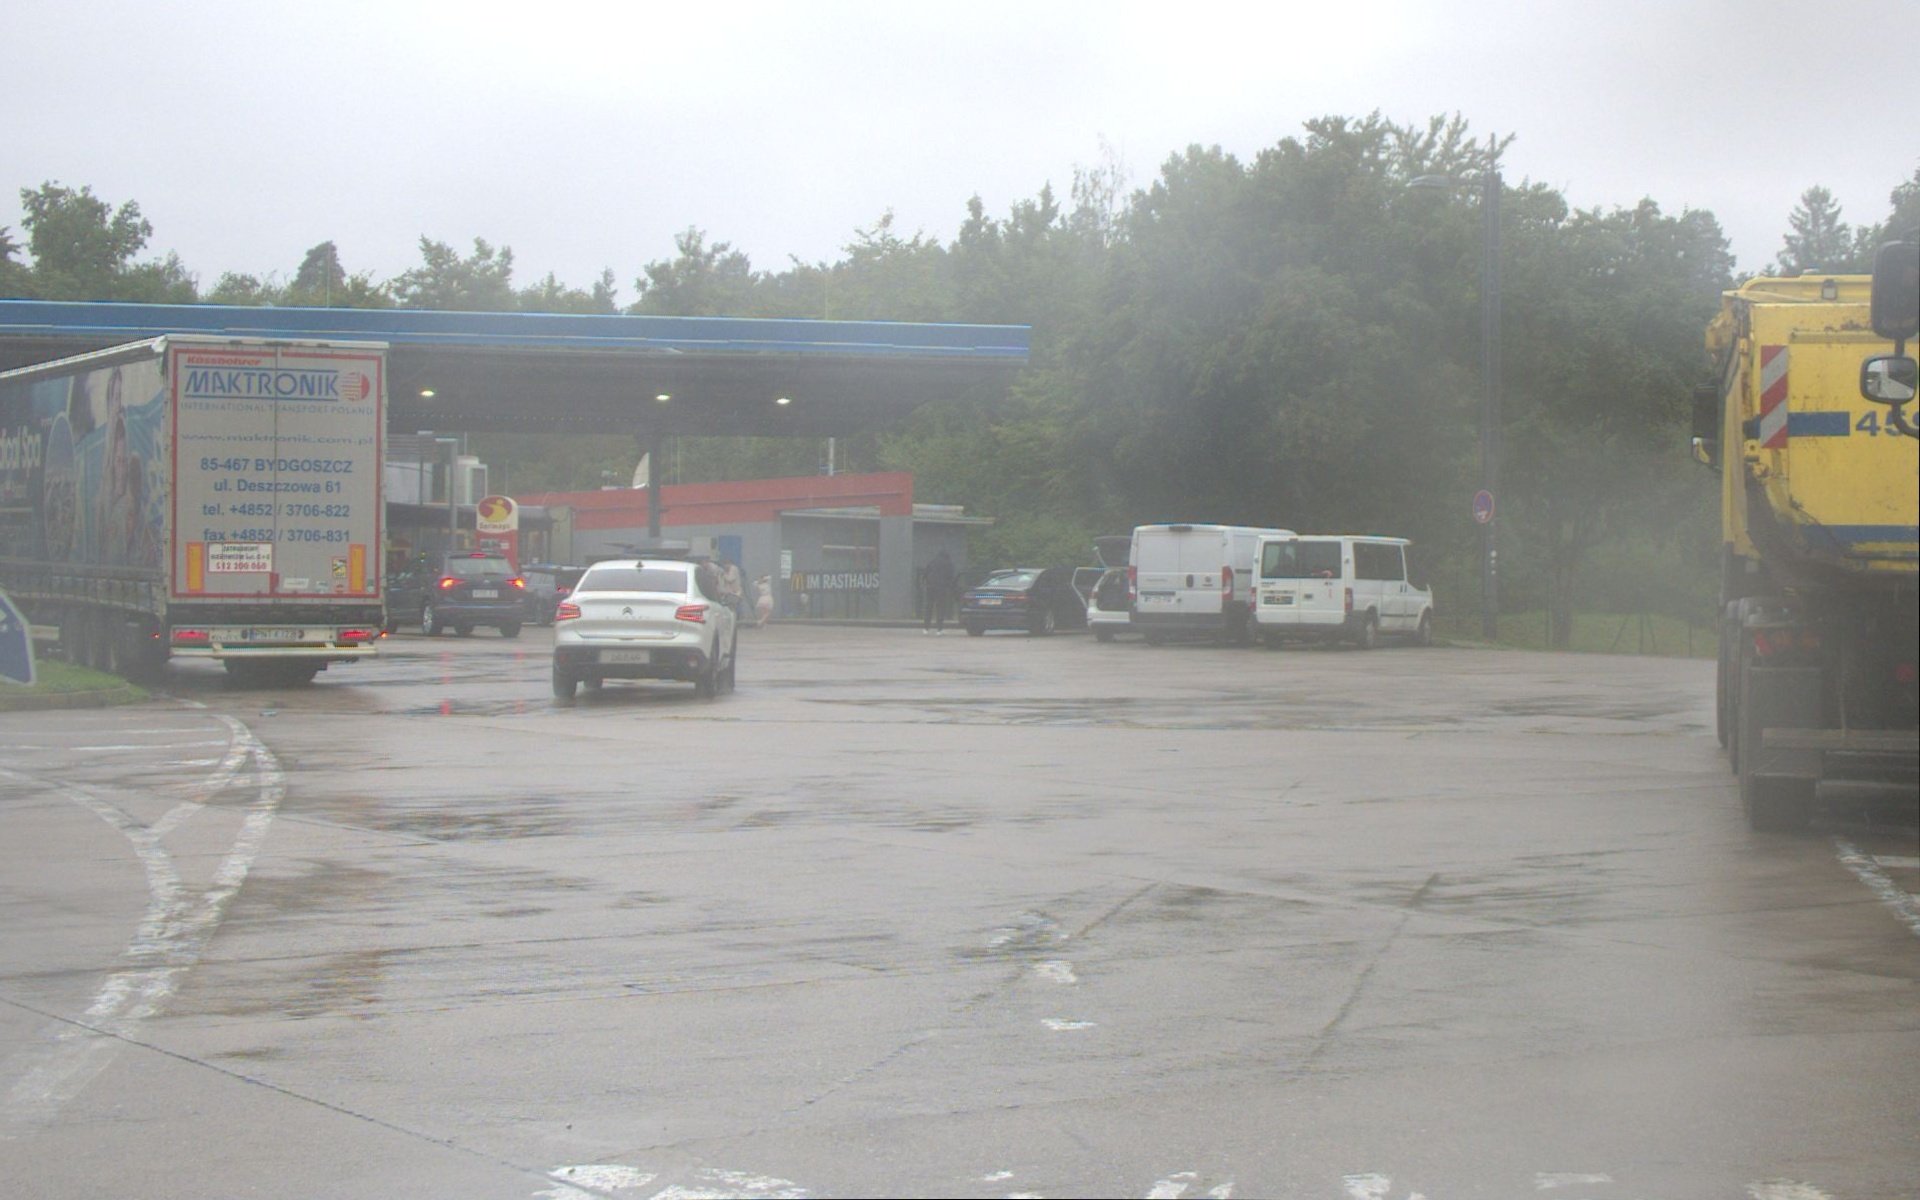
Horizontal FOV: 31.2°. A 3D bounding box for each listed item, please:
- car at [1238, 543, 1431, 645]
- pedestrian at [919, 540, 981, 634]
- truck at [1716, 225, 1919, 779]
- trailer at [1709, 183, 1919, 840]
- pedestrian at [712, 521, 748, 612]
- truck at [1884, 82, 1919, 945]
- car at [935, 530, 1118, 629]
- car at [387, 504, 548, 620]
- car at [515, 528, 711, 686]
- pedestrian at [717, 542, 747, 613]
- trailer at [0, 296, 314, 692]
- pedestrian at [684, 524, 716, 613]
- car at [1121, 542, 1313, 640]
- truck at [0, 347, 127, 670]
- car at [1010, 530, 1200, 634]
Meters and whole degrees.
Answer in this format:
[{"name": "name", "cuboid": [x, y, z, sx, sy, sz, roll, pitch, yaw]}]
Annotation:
[{"name": "car", "cuboid": [6.665, -0.132, 60.845, 2.116, 1.722, 3.994, 1, 1, 27]}, {"name": "pedestrian", "cuboid": [-0.207, -0.275, 70.648, 0.955, 1.913, 1.088, 1, 1, 19]}, {"name": "truck", "cuboid": [6.814, -0.700, 25.762, 2.182, 3.815, 4.139, 1, 1, 13]}, {"name": "trailer", "cuboid": [5.825, -0.497, 21.384, 2.184, 3.381, 7.559, 1, 1, 13]}, {"name": "pedestrian", "cuboid": [-5.246, -0.761, 78.415, 0.669, 2.007, 0.742, 3, -3, 0]}, {"name": "truck", "cuboid": [4.794, -0.335, 12.261, 2.146, 3.501, 4.645, 1, 1, 6]}, {"name": "car", "cuboid": [1.398, -0.433, 70.251, 2.116, 1.930, 4.186, 1, 1, 27]}, {"name": "car", "cuboid": [-9.576, -0.697, 66.628, 1.993, 2.007, 4.000, 4, -3, -24]}, {"name": "car", "cuboid": [-3.827, 0.054, 38.519, 1.993, 1.673, 4.001, 0, 1, -3]}, {"name": "pedestrian", "cuboid": [-5.043, -0.495, 76.027, 0.608, 1.534, 0.595, 1, -1, -7]}, {"name": "trailer", "cuboid": [-10.678, -1.241, 44.323, 1.993, 4.544, 9.811, 1, 0, -26]}, {"name": "pedestrian", "cuboid": [-6.028, -0.734, 79.594, 0.586, 2.007, 0.638, 3, -3, -9]}, {"name": "car", "cuboid": [4.734, -0.180, 62.803, 2.116, 1.722, 3.994, 1, 1, 27]}, {"name": "truck", "cuboid": [-13.904, -1.304, 50.900, 1.988, 4.534, 4.796, 1, 0, -26]}, {"name": "car", "cuboid": [2.829, -0.367, 66.382, 2.116, 1.930, 4.186, 1, 1, 27]}]
